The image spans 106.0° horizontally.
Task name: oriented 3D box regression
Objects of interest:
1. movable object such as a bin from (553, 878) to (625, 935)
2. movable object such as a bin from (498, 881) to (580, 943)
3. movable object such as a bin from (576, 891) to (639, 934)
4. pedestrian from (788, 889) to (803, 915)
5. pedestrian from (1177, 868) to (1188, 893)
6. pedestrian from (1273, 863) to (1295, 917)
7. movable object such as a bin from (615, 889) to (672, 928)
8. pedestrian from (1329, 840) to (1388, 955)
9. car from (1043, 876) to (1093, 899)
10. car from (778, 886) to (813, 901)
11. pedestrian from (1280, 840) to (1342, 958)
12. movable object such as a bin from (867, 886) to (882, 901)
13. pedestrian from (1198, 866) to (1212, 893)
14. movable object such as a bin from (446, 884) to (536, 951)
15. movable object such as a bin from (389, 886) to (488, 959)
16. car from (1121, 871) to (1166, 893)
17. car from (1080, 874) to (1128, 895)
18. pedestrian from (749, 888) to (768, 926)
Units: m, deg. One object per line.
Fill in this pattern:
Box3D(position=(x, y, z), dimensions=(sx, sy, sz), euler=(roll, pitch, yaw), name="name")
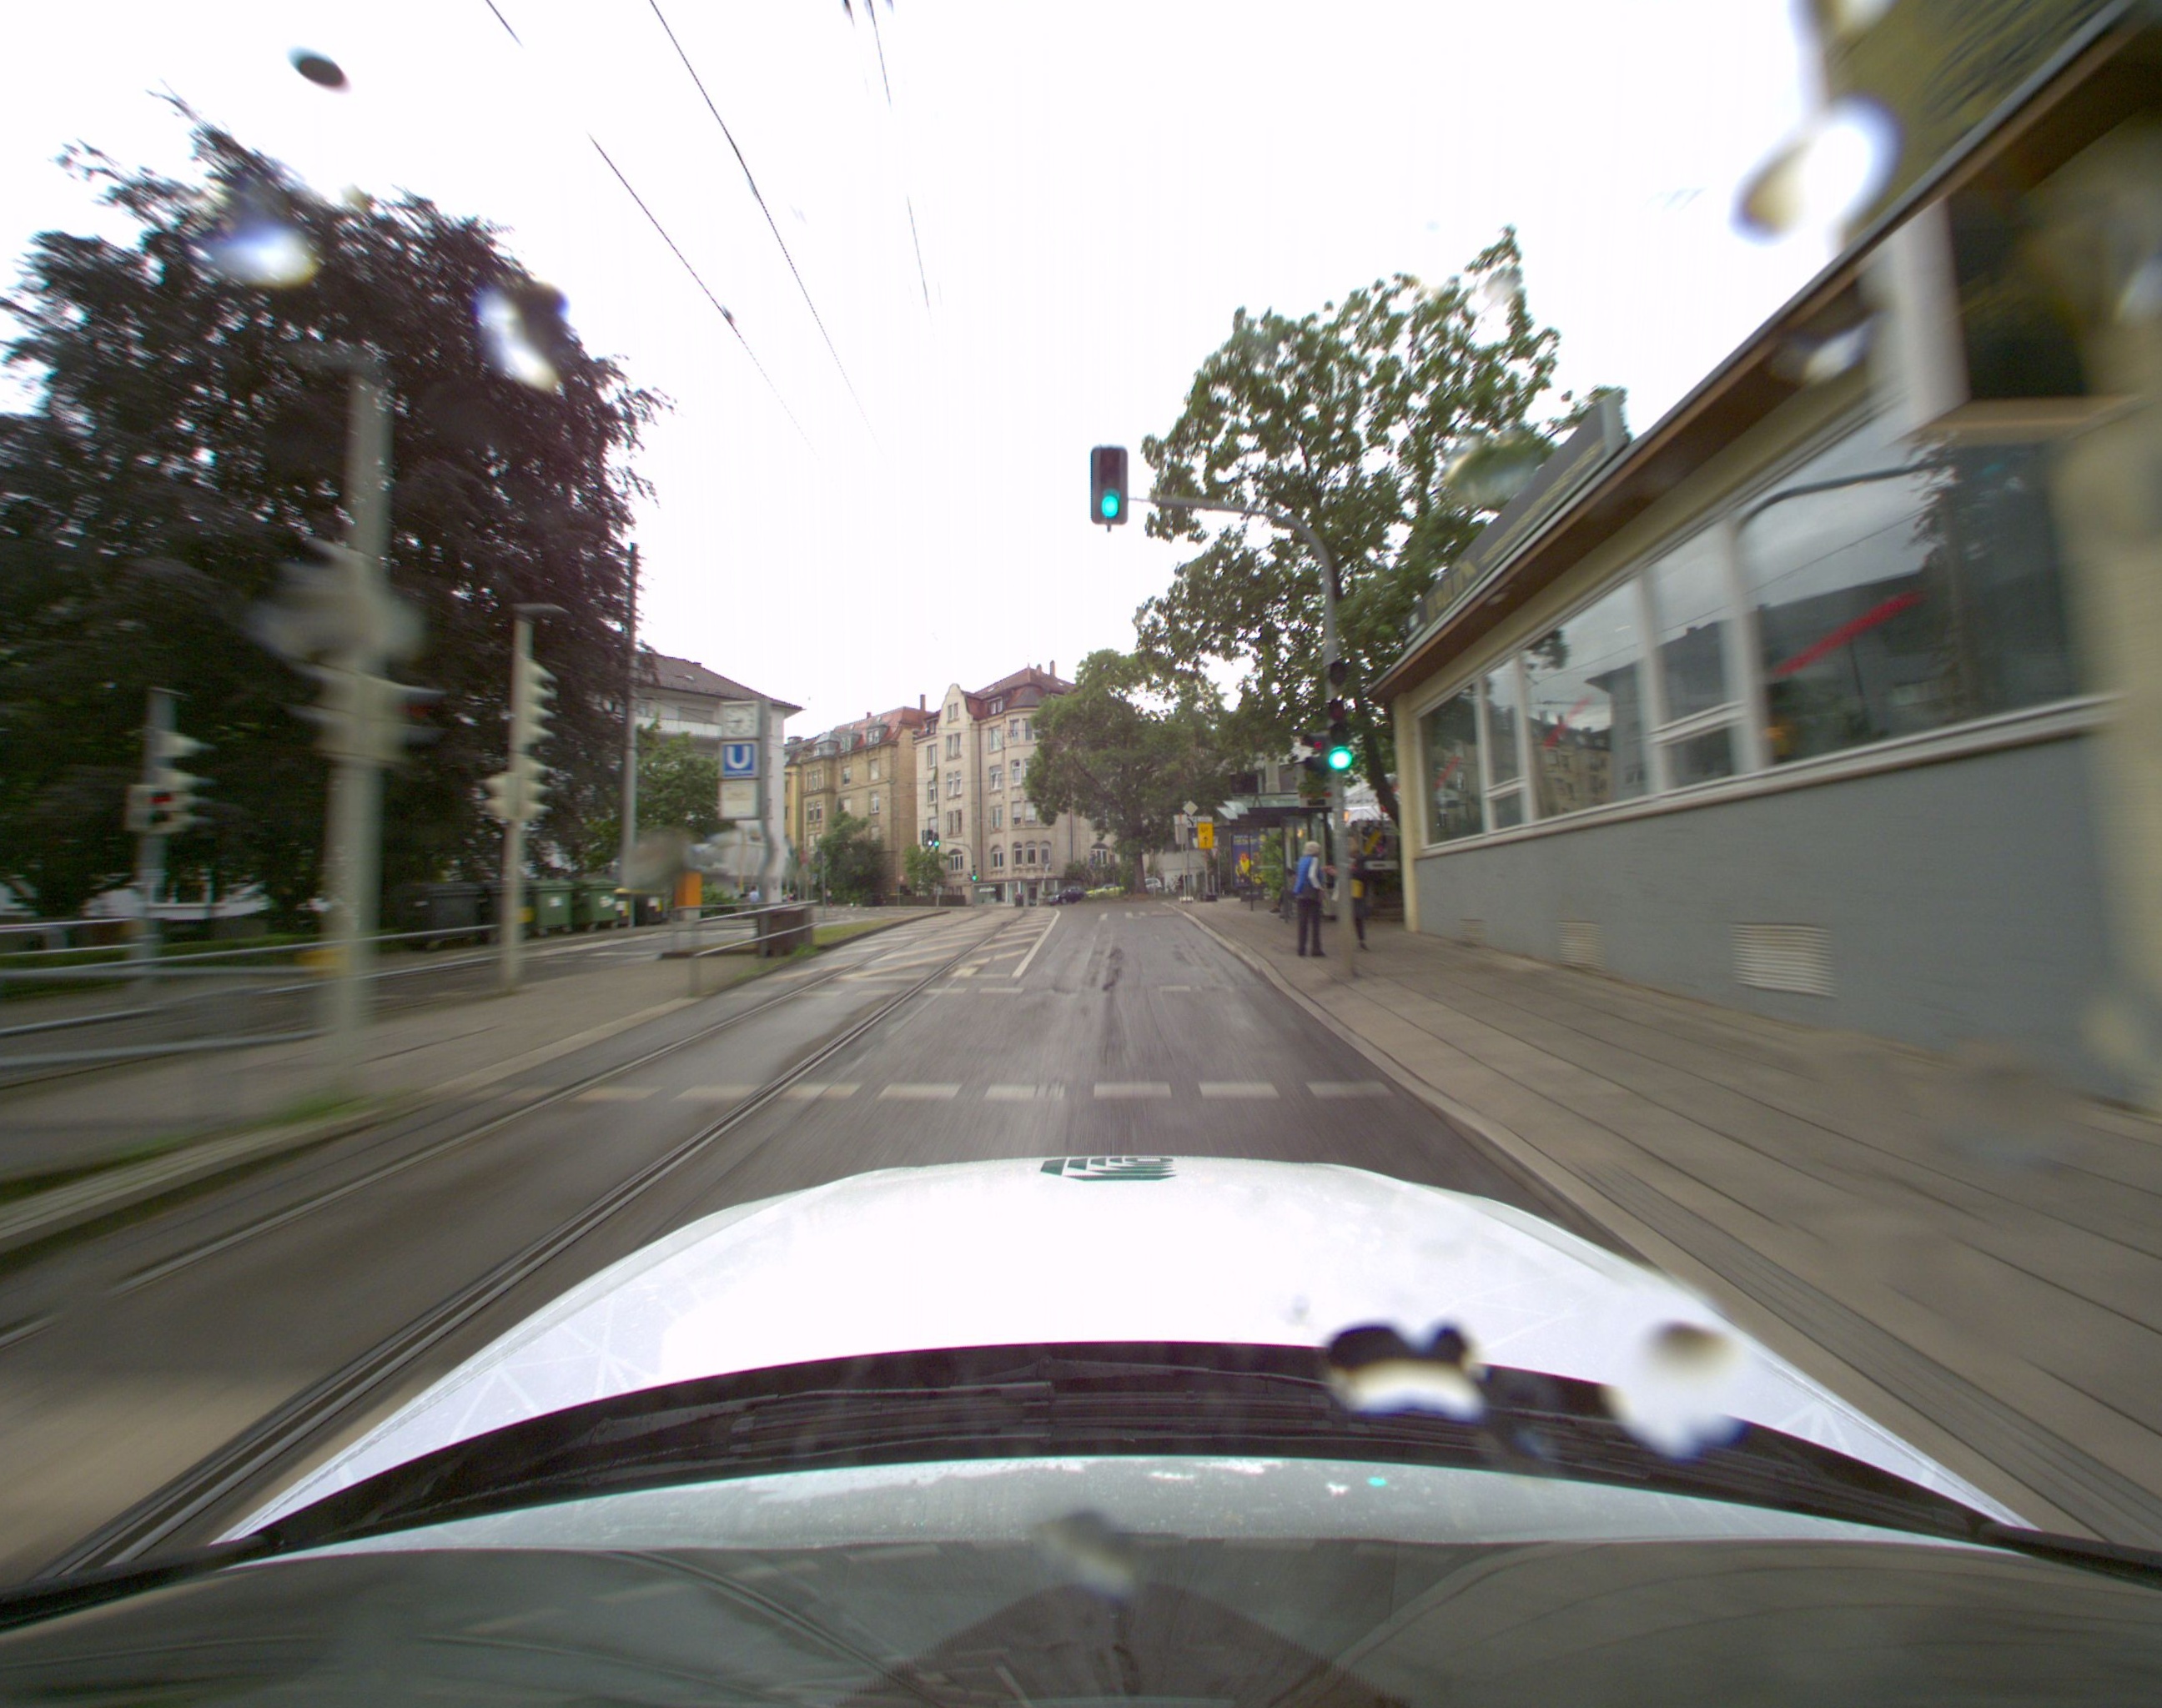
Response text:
Box3D(position=(-13.286, 1.397, 22.050), dimensions=(1.016, 1.434, 1.429), euler=(0, 0, 4), name="movable object such as a bin")
Box3D(position=(-13.452, 1.408, 20.253), dimensions=(1.016, 1.434, 1.446), euler=(0, 0, 4), name="movable object such as a bin")
Box3D(position=(-13.833, 1.698, 23.834), dimensions=(1.016, 1.138, 1.344), euler=(0, 0, 4), name="movable object such as a bin")
Box3D(position=(-19.139, 3.198, 54.638), dimensions=(0.749, 1.700, 0.665), euler=(0, -1, -43), name="pedestrian")
Box3D(position=(6.366, 1.643, 51.137), dimensions=(0.599, 1.566, 0.544), euler=(0, 0, -8), name="pedestrian")
Box3D(position=(4.531, 0.800, 18.186), dimensions=(0.324, 1.150, 0.317), euler=(-5, 0, -2), name="pedestrian")
Box3D(position=(-13.839, 1.712, 25.778), dimensions=(1.016, 1.138, 1.344), euler=(0, 0, 4), name="movable object such as a bin")
Box3D(position=(3.922, 0.596, 11.536), dimensions=(0.544, 1.554, 0.559), euler=(-4, 0, 0), name="pedestrian")
Box3D(position=(-1.043, 2.694, 65.426), dimensions=(3.690, 1.508, 1.717), euler=(-3, -1, -40), name="car")
Box3D(position=(-30.424, 4.205, 86.730), dimensions=(3.949, 1.391, 1.782), euler=(-1, -3, 40), name="car")
Box3D(position=(3.155, 0.602, 11.228), dimensions=(0.586, 1.554, 0.650), euler=(-4, 0, 1), name="pedestrian")
Box3D(position=(-21.247, 4.071, 83.895), dimensions=(0.812, 1.403, 1.237), euler=(0, 0, 34), name="movable object such as a bin")
Box3D(position=(7.579, 1.569, 49.829), dimensions=(0.547, 1.629, 0.596), euler=(0, 0, -31), name="pedestrian")
Box3D(position=(-13.481, 1.424, 18.656), dimensions=(1.016, 1.434, 1.357), euler=(0, 0, 4), name="movable object such as a bin")
Box3D(position=(-13.599, 1.424, 17.276), dimensions=(1.016, 1.434, 1.305), euler=(0, 0, 4), name="movable object such as a bin")
Box3D(position=(5.491, 2.478, 71.335), dimensions=(3.796, 1.508, 1.603), euler=(-4, -3, -44), name="car")
Box3D(position=(1.959, 2.569, 68.458), dimensions=(3.690, 1.508, 1.717), euler=(-3, -1, -40), name="car")
Box3D(position=(-14.737, 2.420, 37.217), dimensions=(0.567, 1.684, 0.774), euler=(-3, -2, -5), name="pedestrian")
